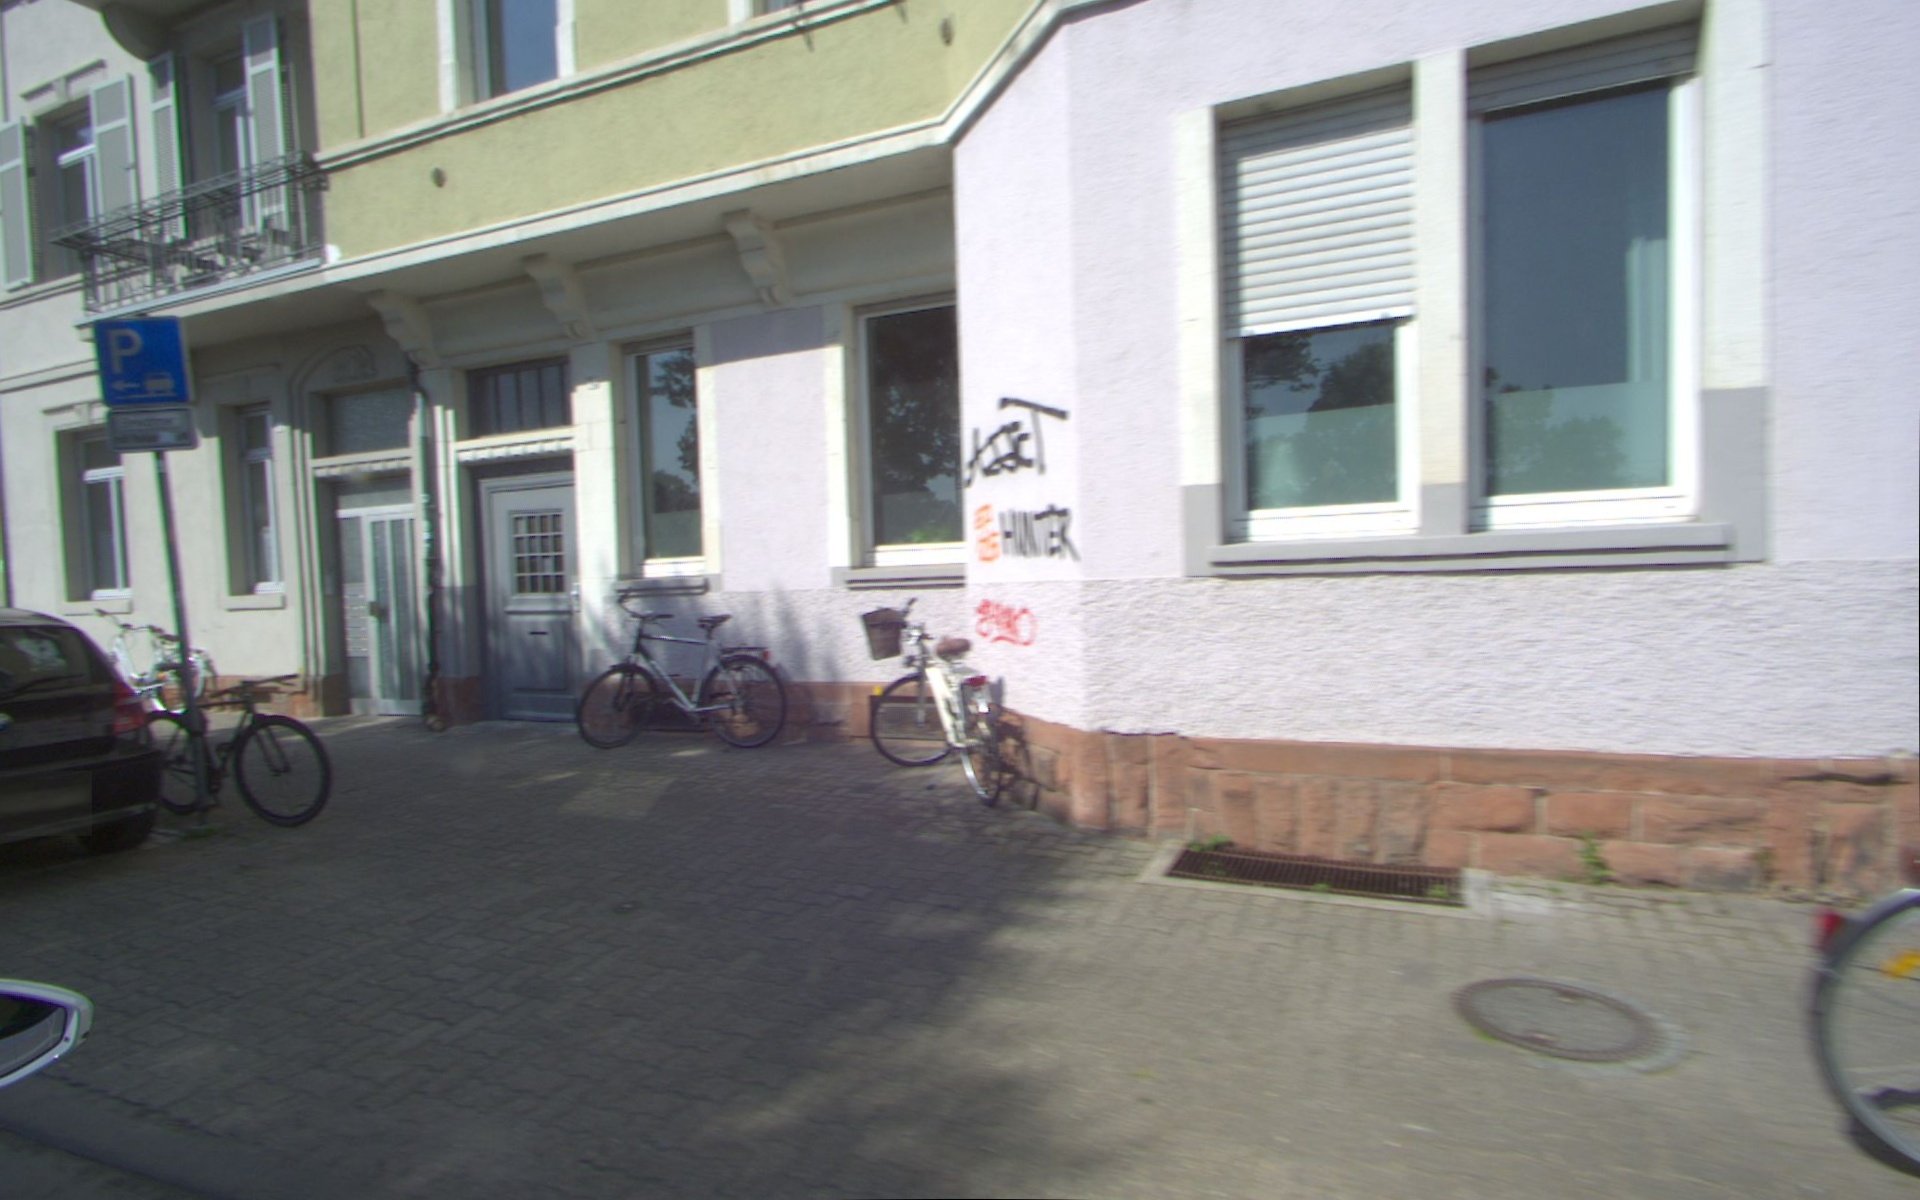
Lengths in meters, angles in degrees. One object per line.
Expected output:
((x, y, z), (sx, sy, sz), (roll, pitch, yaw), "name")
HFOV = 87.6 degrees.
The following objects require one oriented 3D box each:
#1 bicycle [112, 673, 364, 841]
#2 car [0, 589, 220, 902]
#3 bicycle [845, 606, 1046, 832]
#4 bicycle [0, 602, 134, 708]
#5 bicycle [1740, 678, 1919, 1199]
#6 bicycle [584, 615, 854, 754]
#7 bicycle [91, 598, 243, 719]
((-4.470, 0.930, 6.190), (1.554, 0.904, 0.448), (-1, 3, 22), "bicycle")
((-6.274, 0.724, 5.525), (4.014, 1.435, 1.740), (-1, 2, 24), "car")
((-0.156, 0.606, 5.970), (0.529, 1.061, 1.821), (-3, 3, -23), "bicycle")
((-10.754, 0.641, 11.943), (1.599, 1.162, 0.655), (-1, 4, 23), "bicycle")
((2.528, 0.722, 1.776), (1.705, 1.102, 0.577), (-1, 2, 21), "bicycle")
((-1.913, 0.631, 7.888), (2.079, 0.959, 0.607), (-1, 4, 23), "bicycle")
((-8.759, 0.616, 11.067), (1.598, 1.197, 0.565), (2, 5, 23), "bicycle")
